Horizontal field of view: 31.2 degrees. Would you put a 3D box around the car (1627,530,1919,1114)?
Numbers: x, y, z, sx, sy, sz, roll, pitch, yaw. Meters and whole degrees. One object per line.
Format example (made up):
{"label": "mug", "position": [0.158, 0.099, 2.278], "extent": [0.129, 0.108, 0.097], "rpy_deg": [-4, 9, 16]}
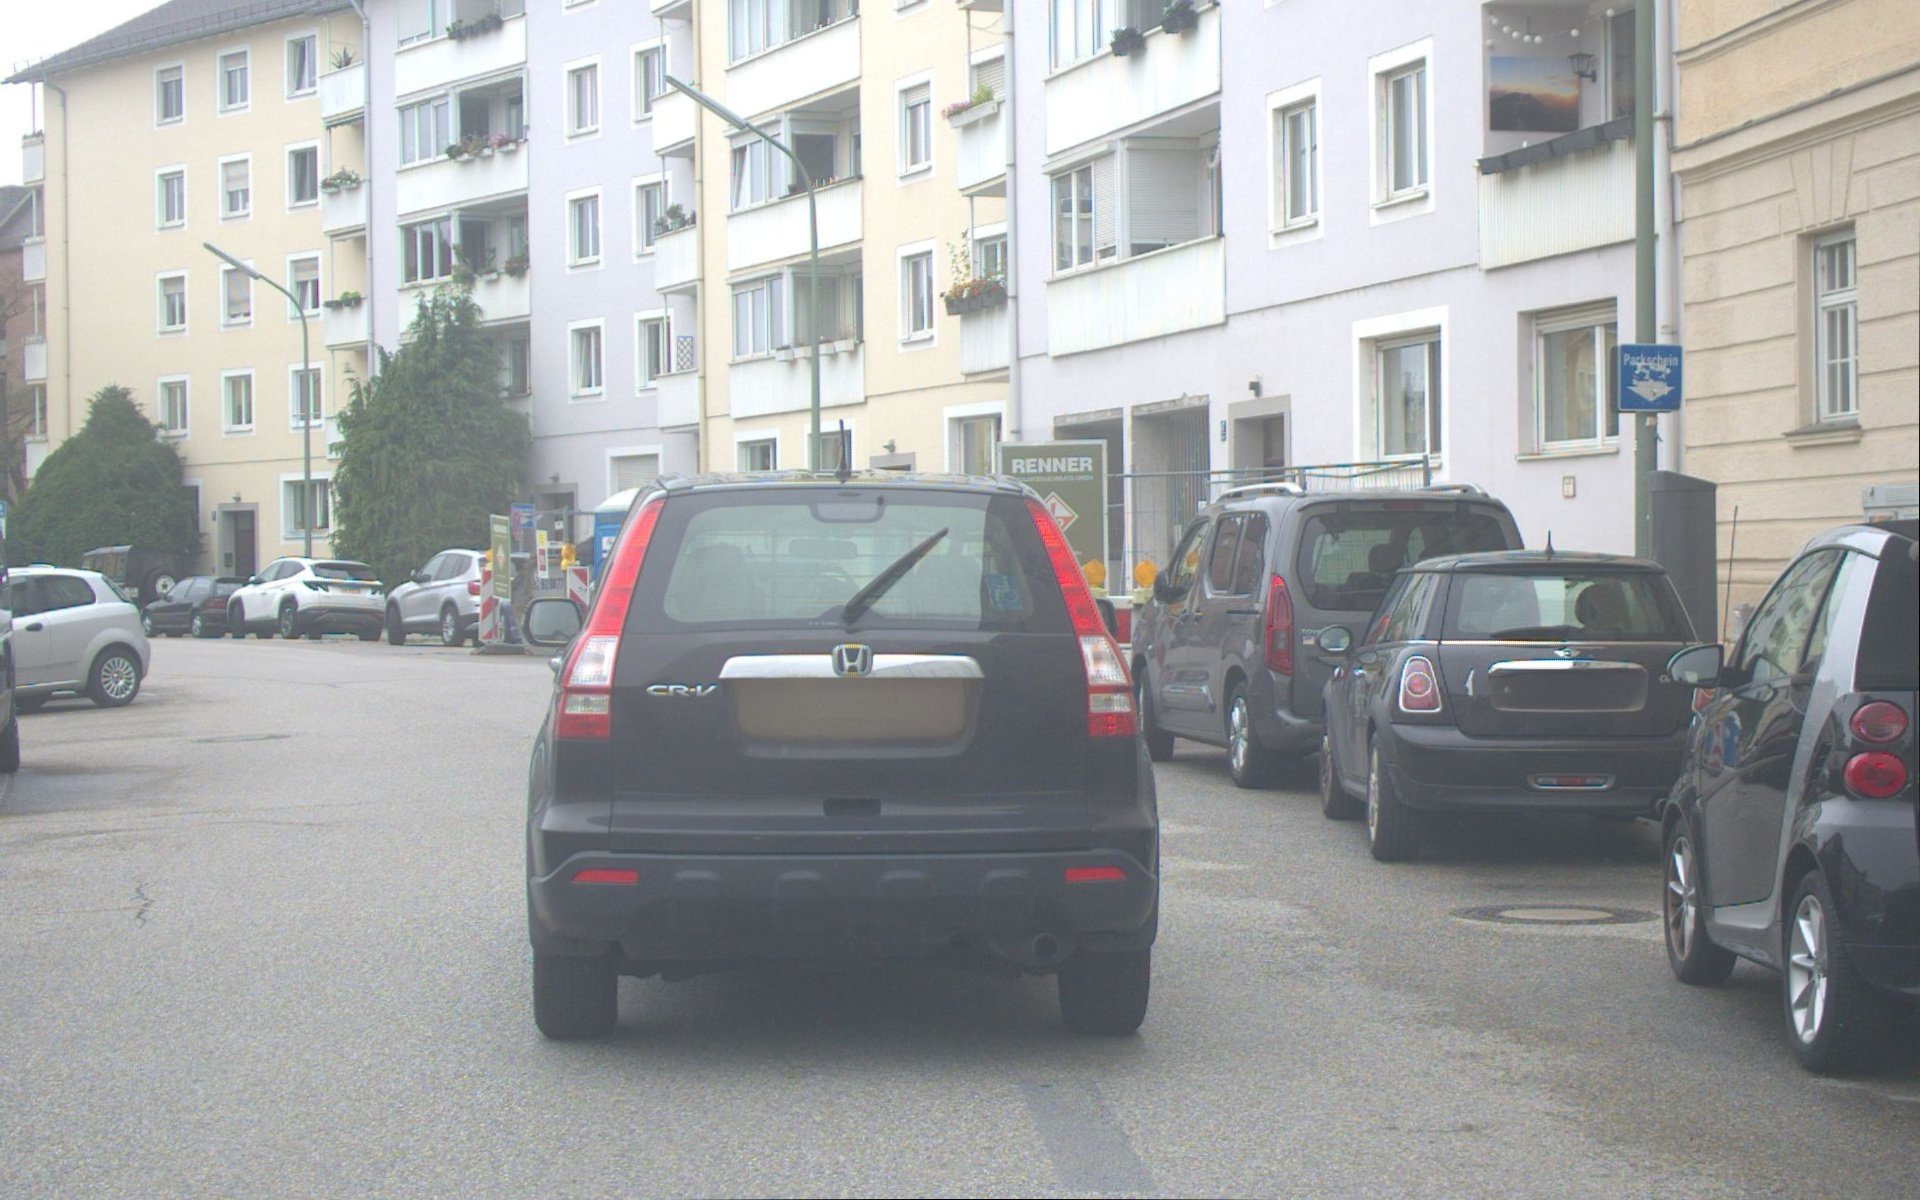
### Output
{"label": "car", "position": [3.093, 0.569, 10.494], "extent": [1.535, 1.518, 3.110], "rpy_deg": [1, 1, 1]}

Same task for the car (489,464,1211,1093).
{"label": "car", "position": [-0.408, 0.439, 11.051], "extent": [1.890, 1.642, 3.992], "rpy_deg": [0, 1, -4]}

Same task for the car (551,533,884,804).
{"label": "car", "position": [-1.573, 0.347, 20.995], "extent": [1.678, 1.476, 4.087], "rpy_deg": [0, 1, -9]}

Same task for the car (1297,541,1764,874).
{"label": "car", "position": [2.702, 0.447, 17.079], "extent": [1.708, 1.442, 3.830], "rpy_deg": [1, 1, 1]}

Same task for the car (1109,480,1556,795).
{"label": "car", "position": [2.253, 0.190, 21.975], "extent": [1.777, 1.800, 4.277], "rpy_deg": [1, 1, -9]}

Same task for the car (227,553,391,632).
{"label": "car", "position": [-12.788, -0.172, 67.385], "extent": [1.724, 1.478, 4.000], "rpy_deg": [0, 1, -34]}

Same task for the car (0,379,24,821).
{"label": "car", "position": [-7.283, -0.071, 22.277], "extent": [2.163, 2.632, 6.019], "rpy_deg": [-2, 1, -14]}

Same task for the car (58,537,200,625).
{"label": "car", "position": [-18.232, -0.440, 75.321], "extent": [1.724, 1.871, 4.000], "rpy_deg": [0, 1, -34]}

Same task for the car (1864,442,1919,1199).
{"label": "car", "position": [2.888, 0.576, 4.939], "extent": [1.869, 1.711, 4.866], "rpy_deg": [1, 1, 0]}

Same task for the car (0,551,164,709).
{"label": "car", "position": [-10.231, 0.395, 34.536], "extent": [1.683, 1.476, 4.078], "rpy_deg": [-4, 0, 39]}

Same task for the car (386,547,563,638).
{"label": "car", "position": [-8.308, -0.156, 58.558], "extent": [1.724, 1.478, 4.001], "rpy_deg": [0, 1, -28]}

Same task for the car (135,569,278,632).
{"label": "car", "position": [-15.699, -0.012, 71.520], "extent": [1.697, 1.232, 3.602], "rpy_deg": [0, 1, -34]}
